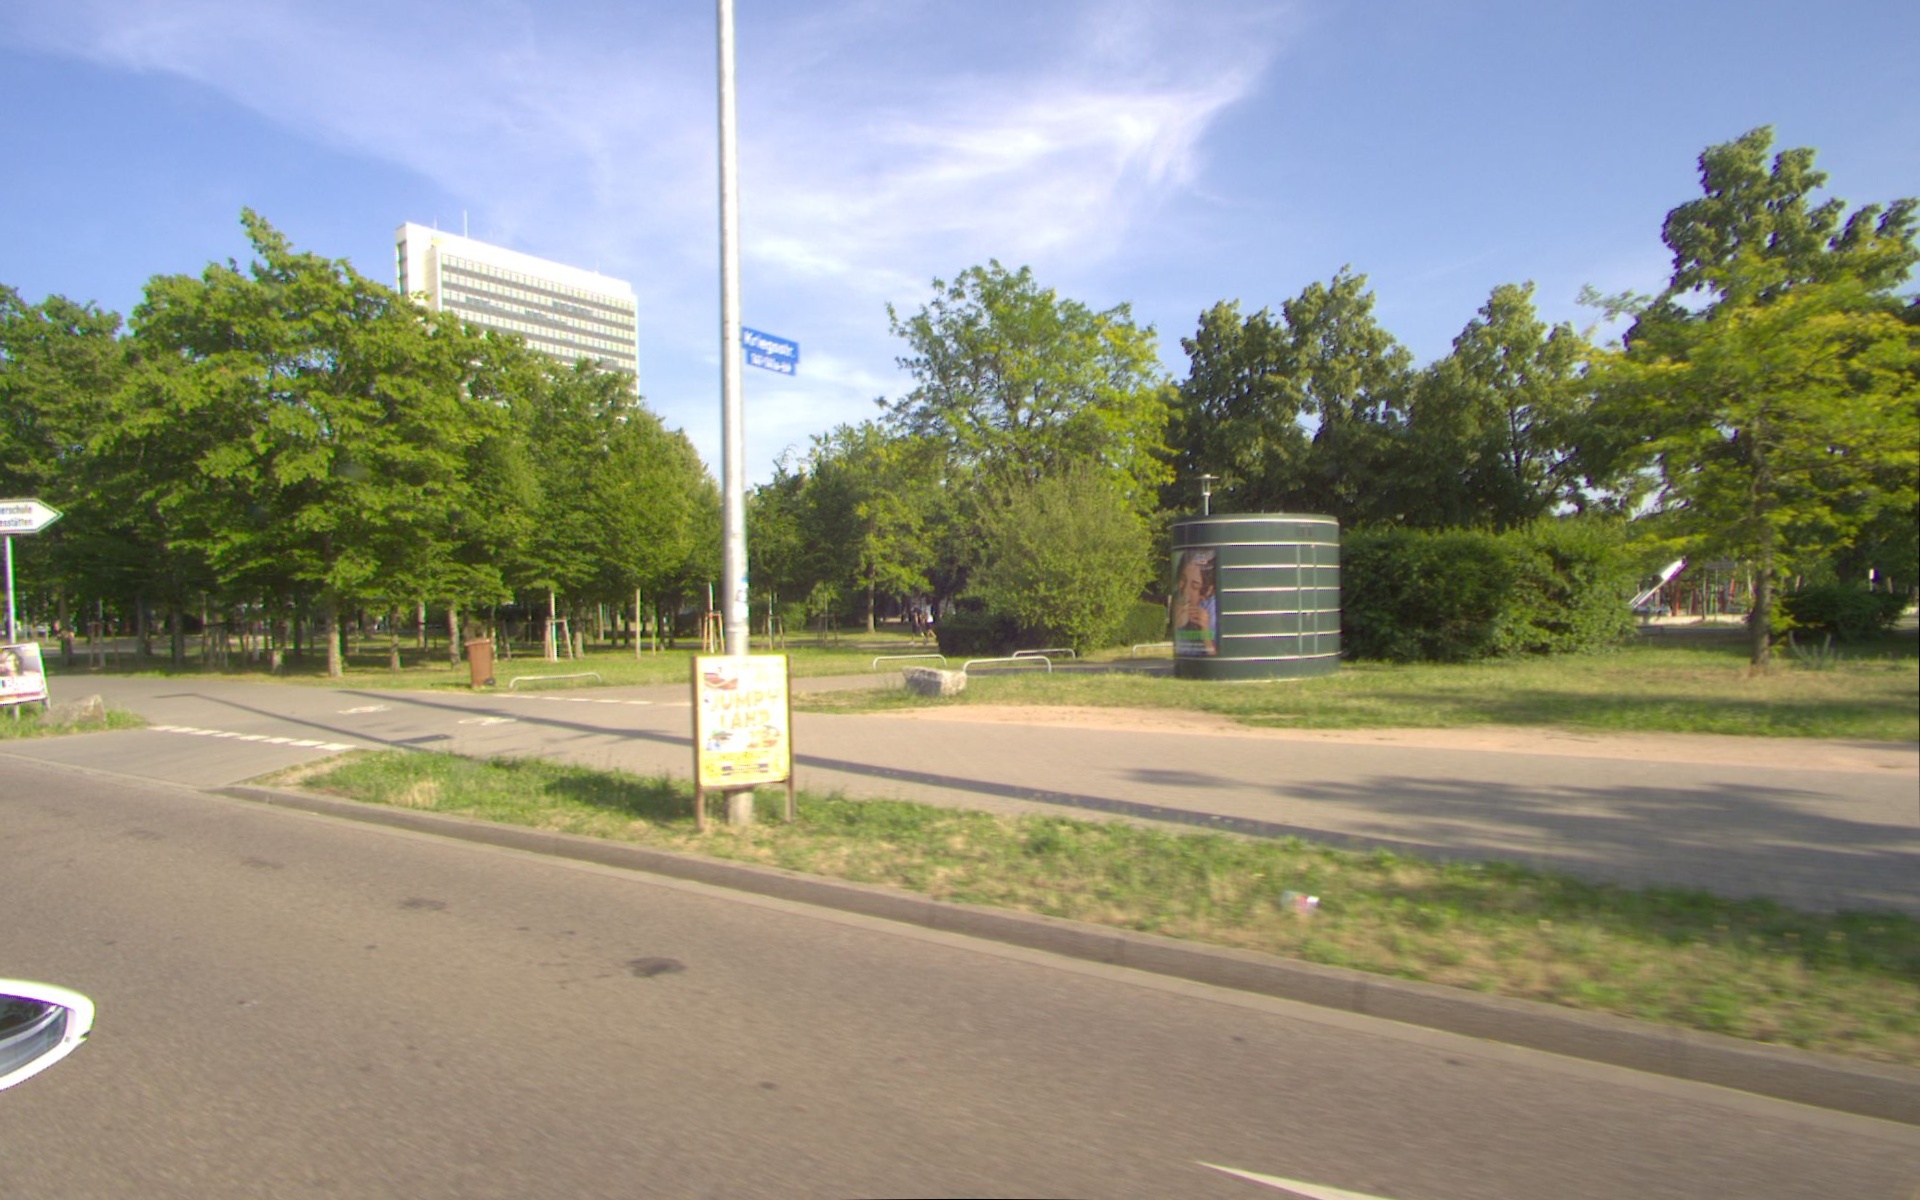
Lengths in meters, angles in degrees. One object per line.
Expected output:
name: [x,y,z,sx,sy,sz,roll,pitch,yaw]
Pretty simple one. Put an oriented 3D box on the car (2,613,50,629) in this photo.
car: [-106.747,2.408,114.543,3.959,1.673,1.981,-1,0,-43]
